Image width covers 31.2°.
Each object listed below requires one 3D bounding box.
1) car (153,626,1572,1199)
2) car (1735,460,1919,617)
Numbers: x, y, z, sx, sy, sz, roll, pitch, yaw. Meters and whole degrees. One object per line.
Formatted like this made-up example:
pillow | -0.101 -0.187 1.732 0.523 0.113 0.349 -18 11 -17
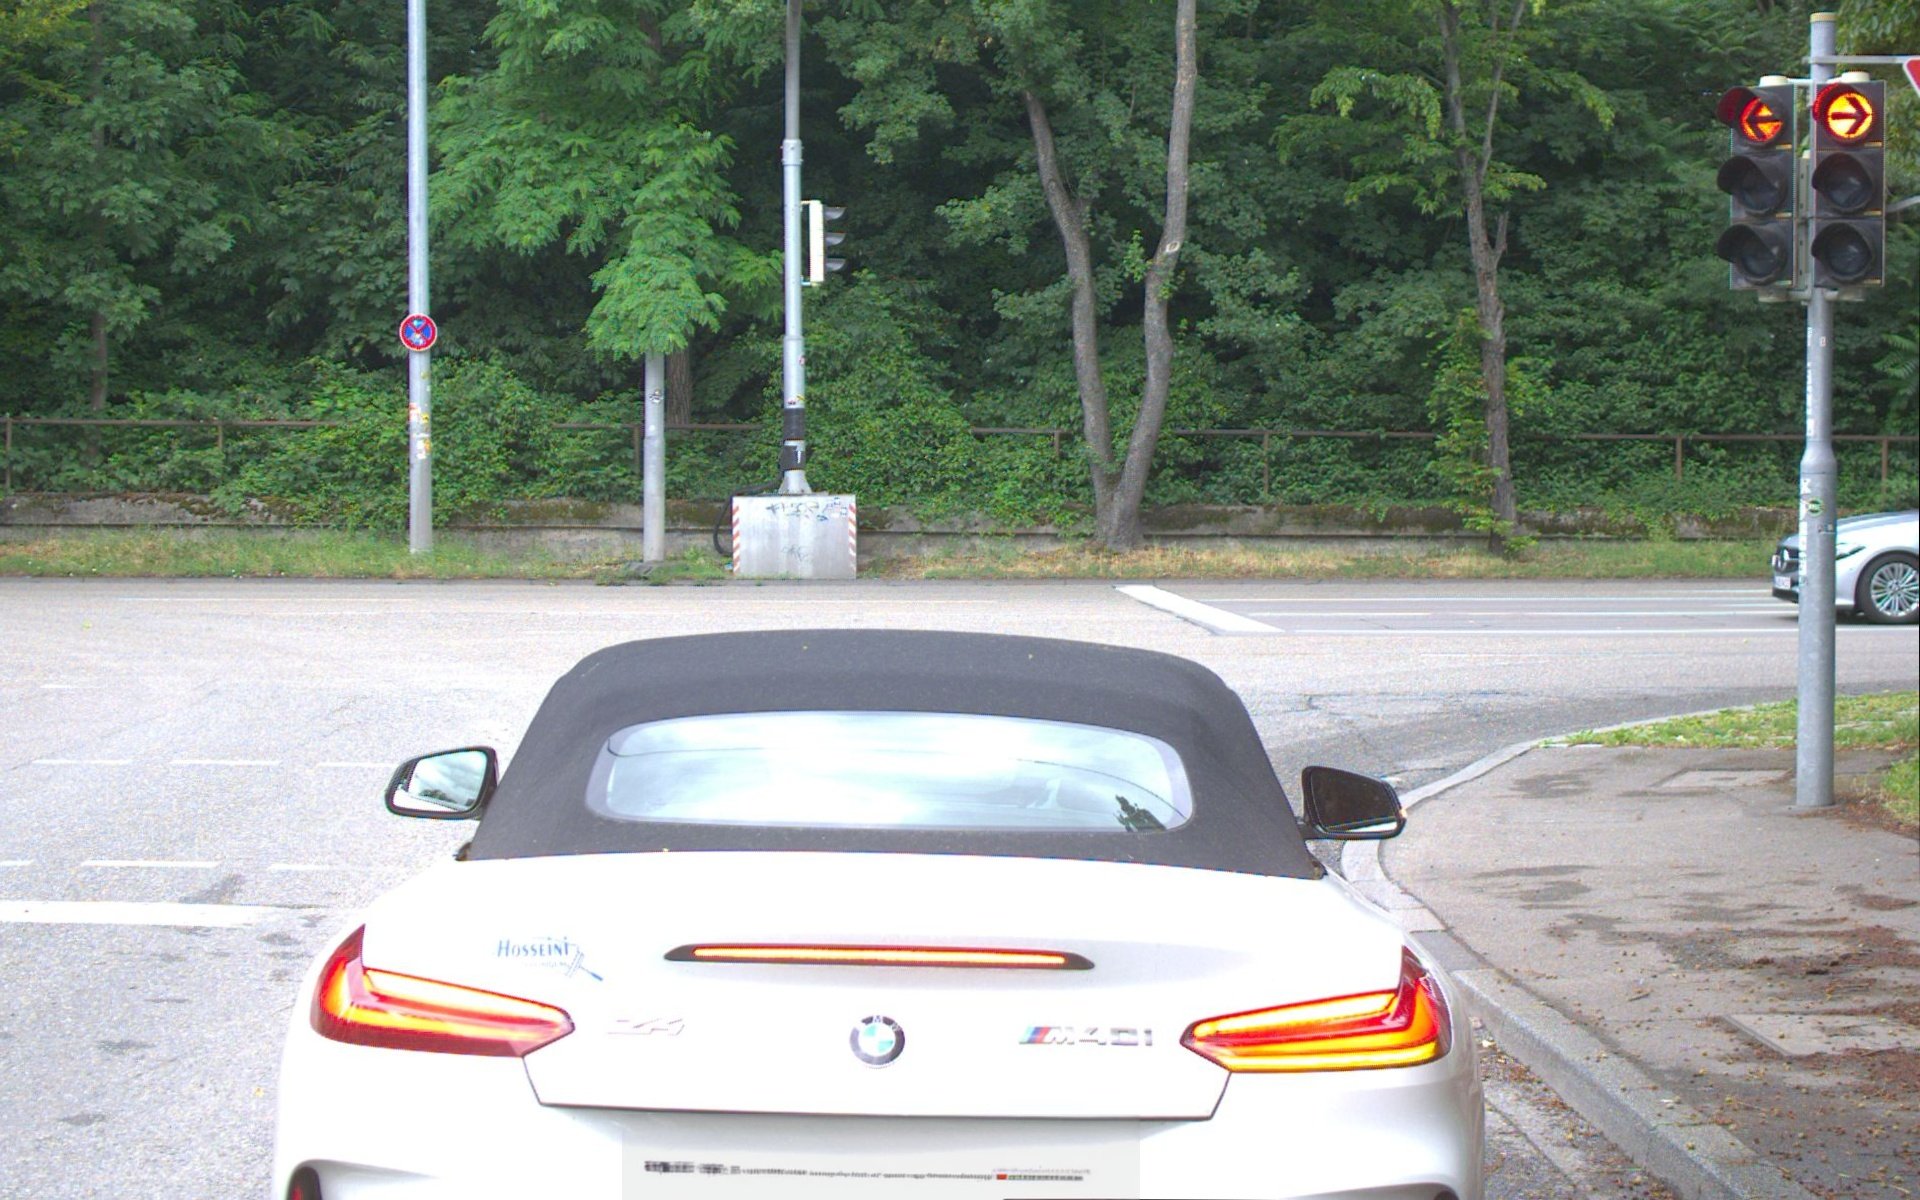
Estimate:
car | -0.219 0.704 6.470 1.827 1.253 4.000 2 0 -3
car | 9.628 -0.560 31.159 4.751 1.329 1.834 1 3 -1
